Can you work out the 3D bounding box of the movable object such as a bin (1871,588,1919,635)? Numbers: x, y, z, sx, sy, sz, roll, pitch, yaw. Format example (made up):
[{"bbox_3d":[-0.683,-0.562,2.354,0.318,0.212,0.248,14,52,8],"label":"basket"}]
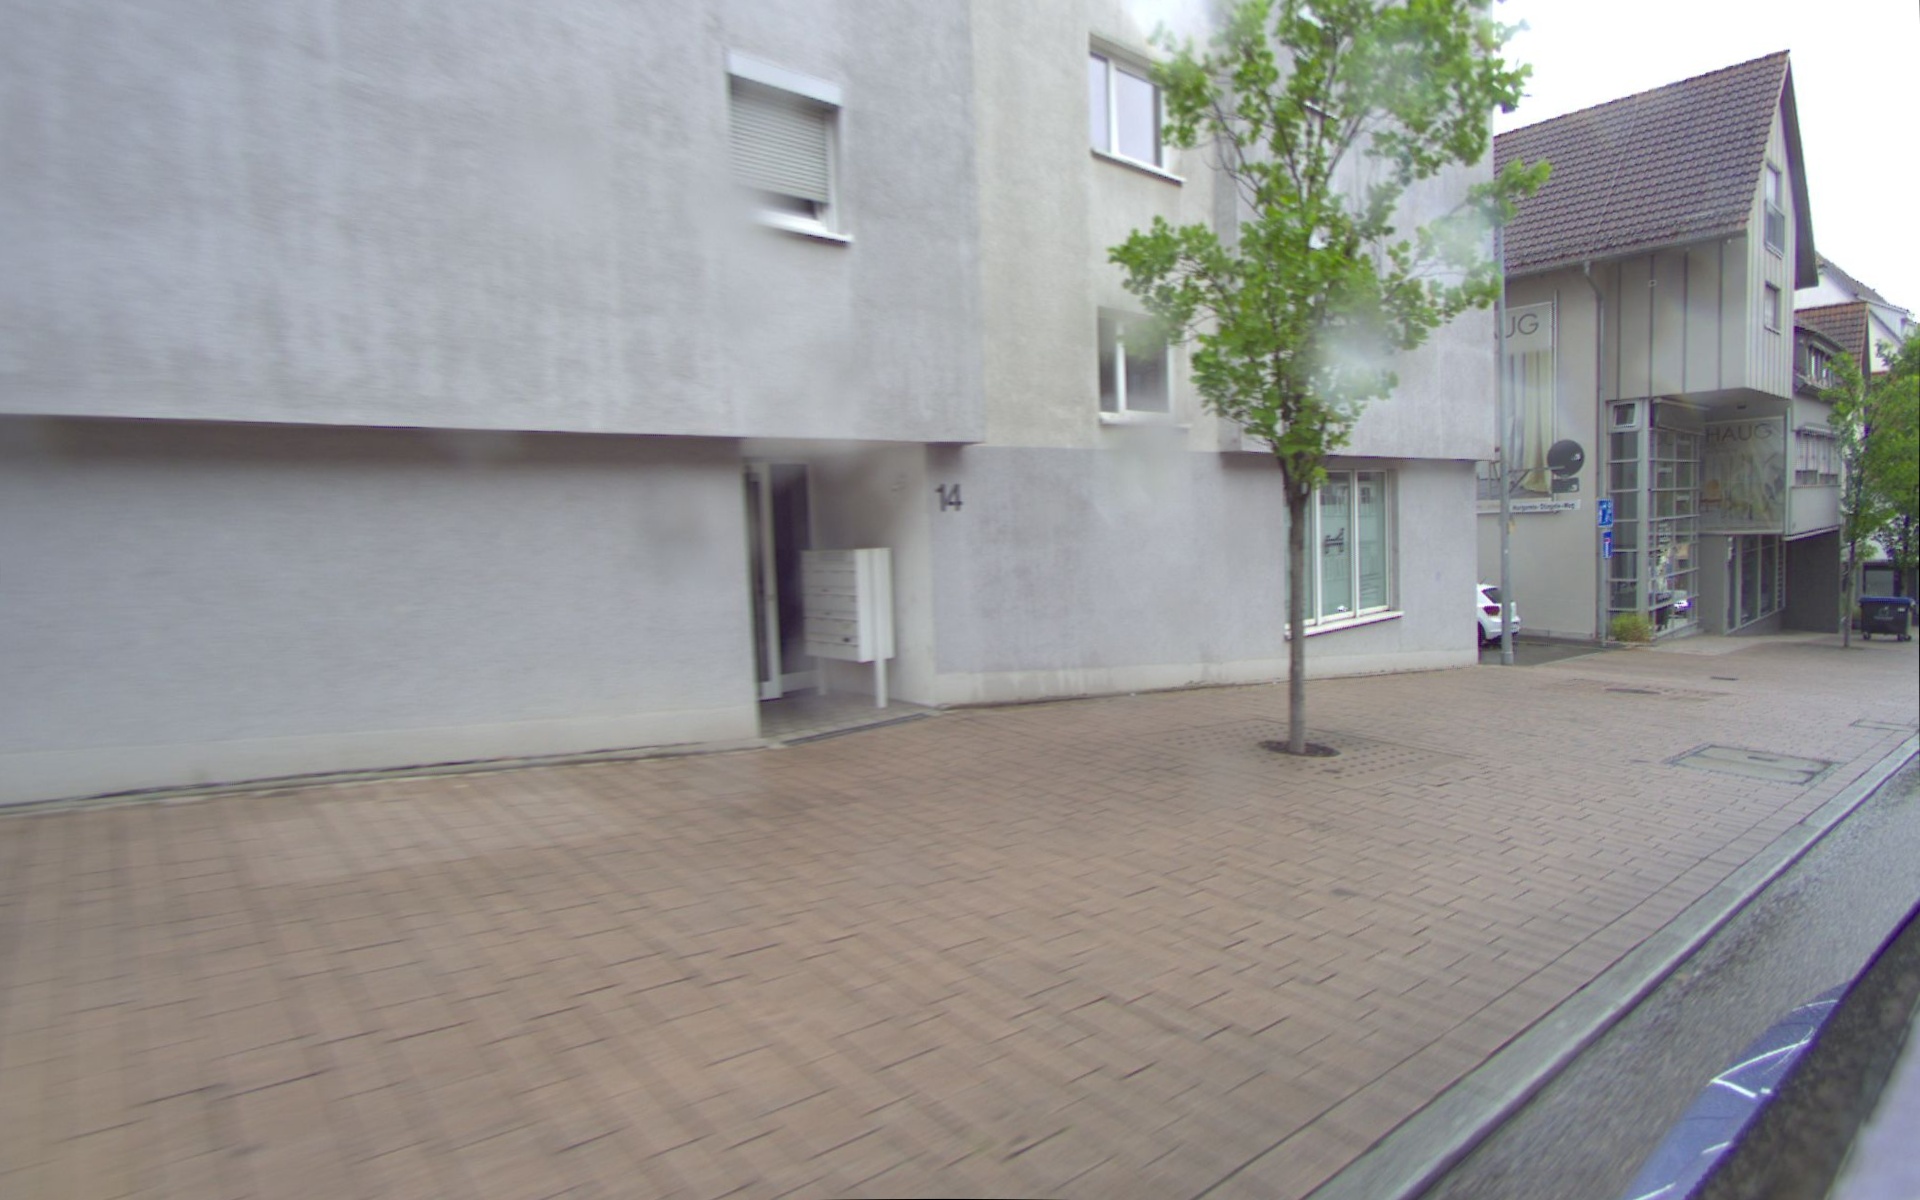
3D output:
[{"bbox_3d":[28.572,0.349,30.650,1.151,1.351,1.238,1,2,-39],"label":"movable object such as a bin"}]

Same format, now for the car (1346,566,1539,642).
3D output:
[{"bbox_3d":[11.558,0.023,24.419,1.714,1.471,3.771,-1,6,-41],"label":"car"}]
